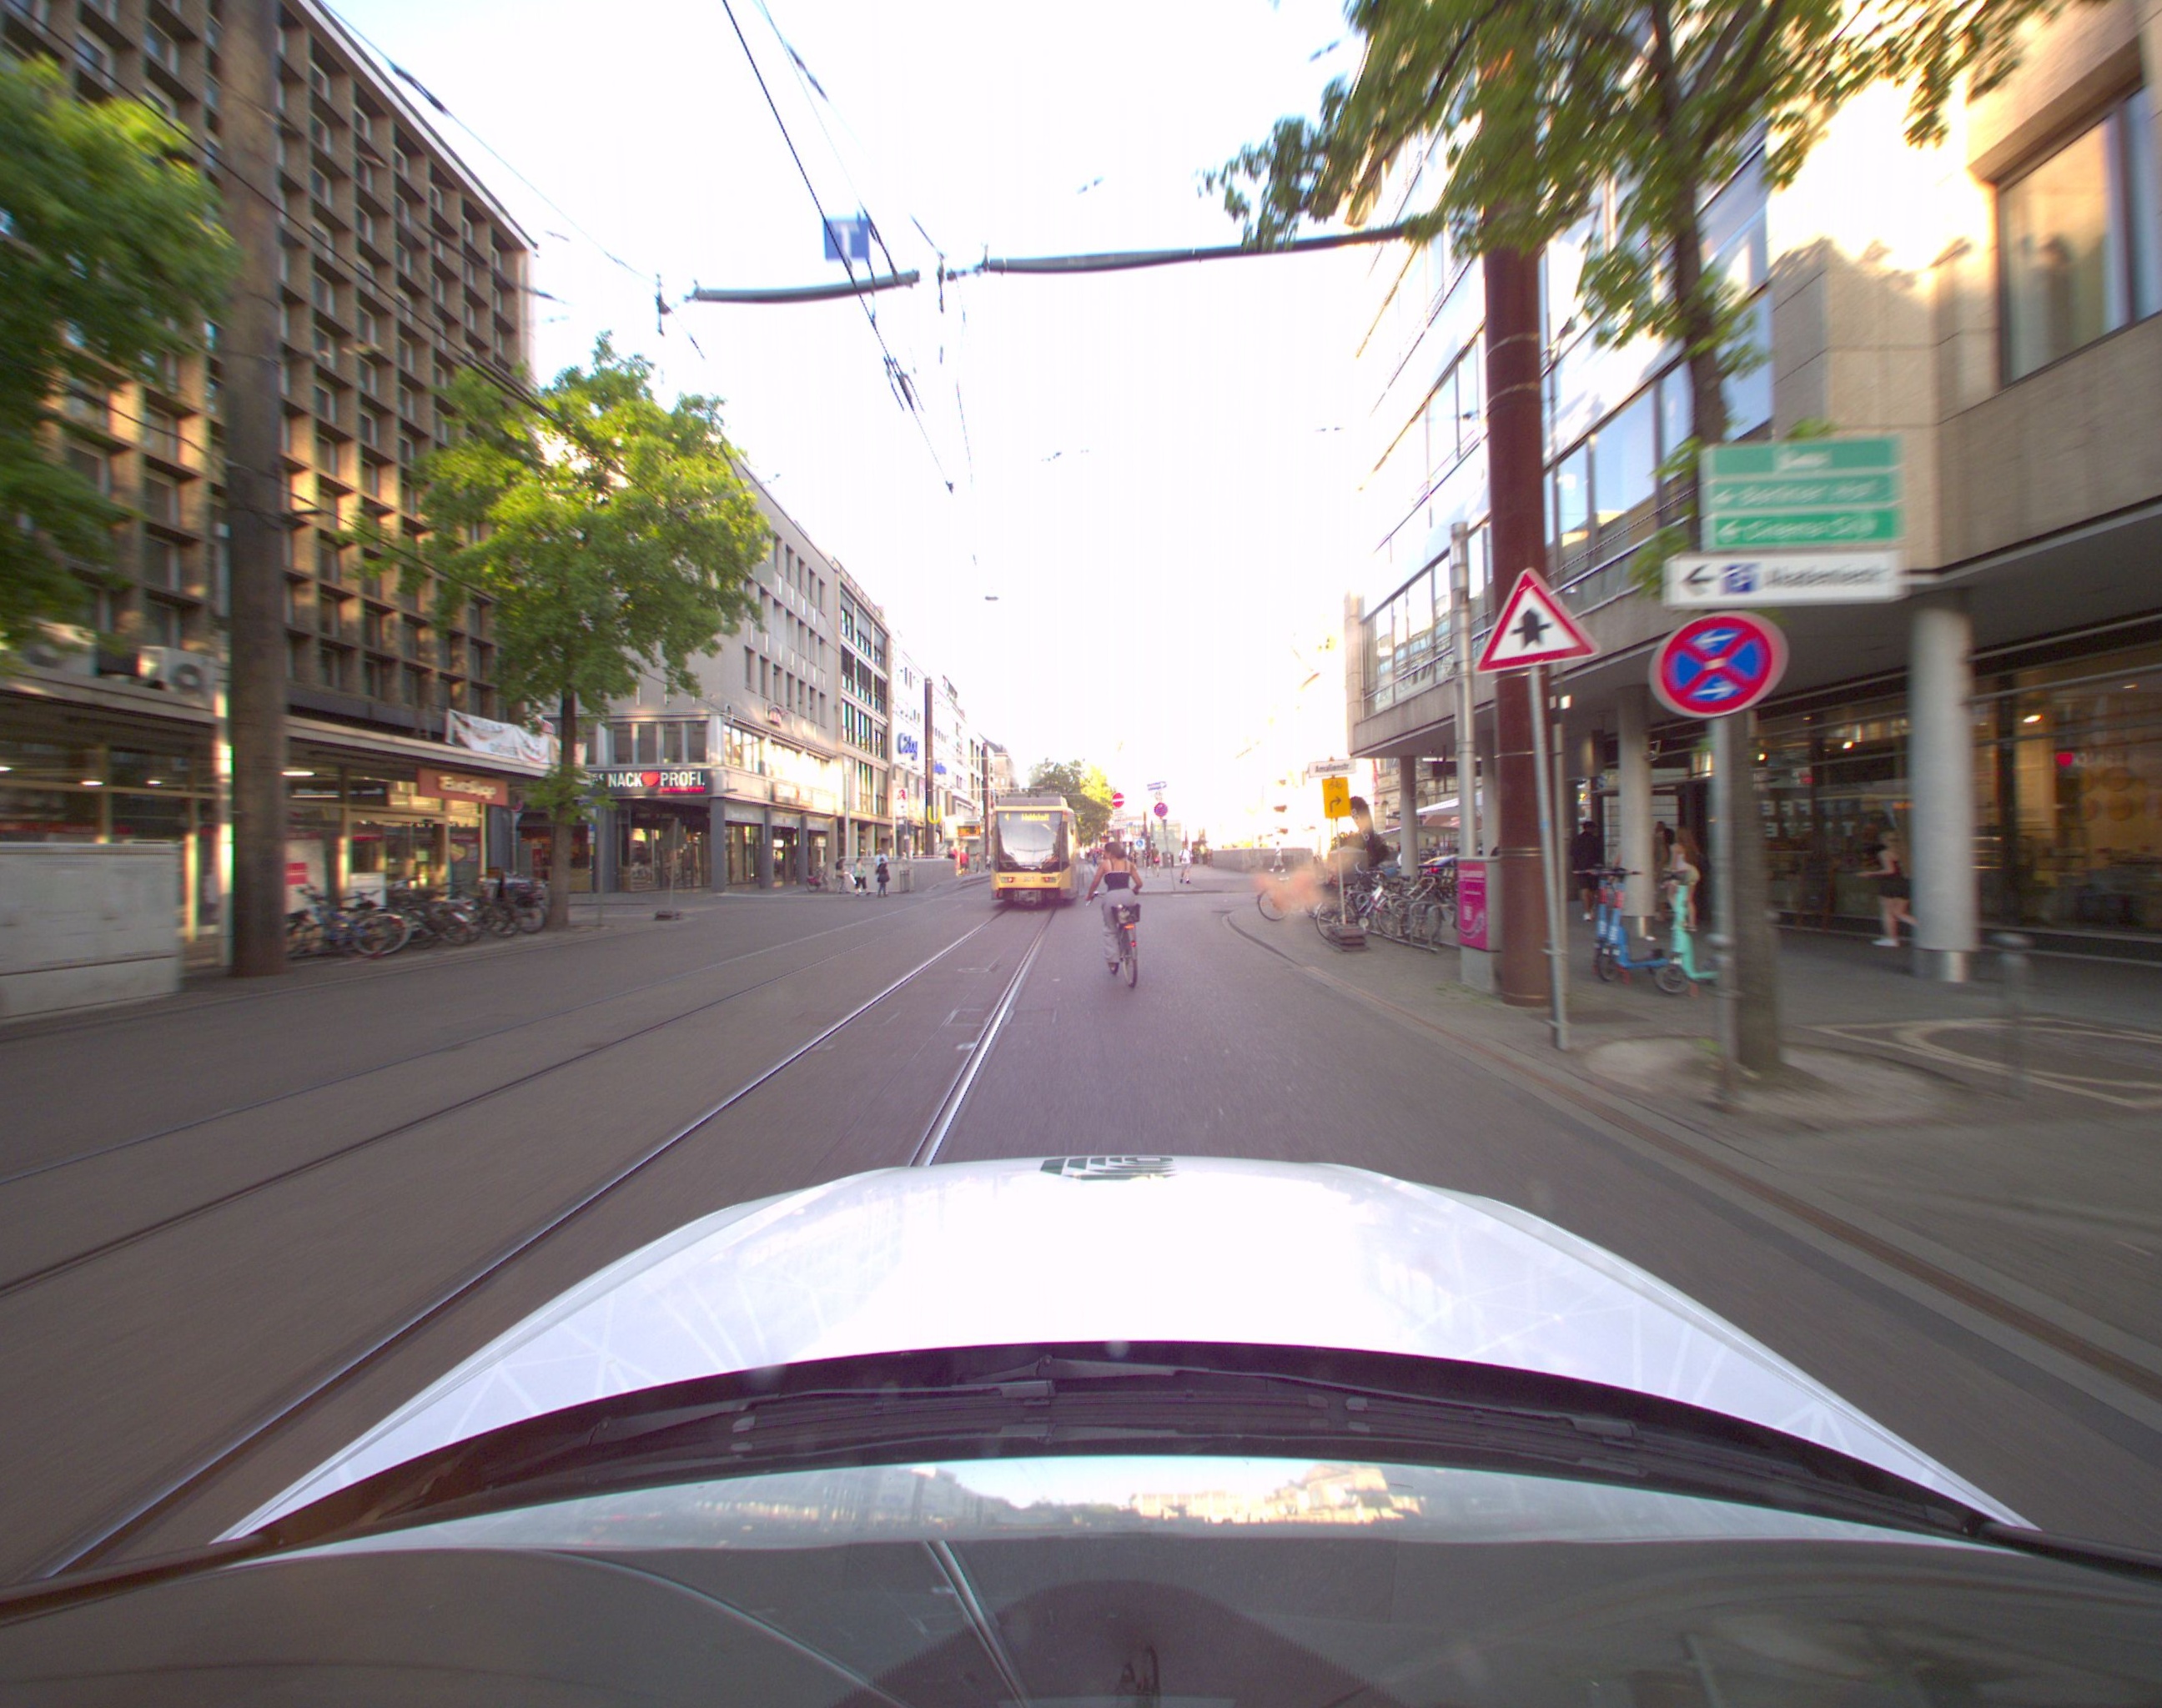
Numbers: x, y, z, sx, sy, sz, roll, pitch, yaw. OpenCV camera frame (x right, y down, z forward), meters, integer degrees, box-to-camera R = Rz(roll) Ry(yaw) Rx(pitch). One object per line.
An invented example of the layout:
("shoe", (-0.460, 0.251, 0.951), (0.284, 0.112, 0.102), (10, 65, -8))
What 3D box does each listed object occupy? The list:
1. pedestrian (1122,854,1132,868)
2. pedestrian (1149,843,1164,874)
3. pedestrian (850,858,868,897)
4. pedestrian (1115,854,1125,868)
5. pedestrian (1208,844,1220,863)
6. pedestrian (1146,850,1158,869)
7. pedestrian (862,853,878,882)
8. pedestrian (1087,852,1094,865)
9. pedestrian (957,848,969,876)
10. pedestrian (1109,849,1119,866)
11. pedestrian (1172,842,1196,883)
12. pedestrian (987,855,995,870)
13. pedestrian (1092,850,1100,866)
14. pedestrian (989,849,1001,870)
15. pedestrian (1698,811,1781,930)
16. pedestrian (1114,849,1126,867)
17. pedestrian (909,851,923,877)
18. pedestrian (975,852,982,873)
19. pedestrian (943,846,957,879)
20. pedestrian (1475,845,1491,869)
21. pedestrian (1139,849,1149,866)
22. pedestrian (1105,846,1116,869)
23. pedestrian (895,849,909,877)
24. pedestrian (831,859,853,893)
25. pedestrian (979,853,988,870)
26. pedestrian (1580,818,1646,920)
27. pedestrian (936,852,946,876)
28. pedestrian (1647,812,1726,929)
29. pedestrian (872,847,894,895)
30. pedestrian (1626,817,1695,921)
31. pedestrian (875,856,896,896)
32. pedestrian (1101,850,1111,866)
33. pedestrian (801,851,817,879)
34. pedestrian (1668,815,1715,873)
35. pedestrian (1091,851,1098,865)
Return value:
("pedestrian", (4.009, 0.593, 70.468), (0.790, 1.221, 0.768), (-1, 0, -4))
("pedestrian", (4.286, 0.284, 46.150), (0.716, 1.725, 0.709), (-1, -1, 0))
("pedestrian", (-8.766, 0.927, 32.220), (0.603, 1.494, 0.554), (-1, -1, -8))
("pedestrian", (3.413, 0.602, 71.270), (0.790, 1.221, 0.768), (-1, 0, -4))
("pedestrian", (12.612, -0.038, 77.306), (0.848, 1.823, 0.772), (-1, 0, -13))
("pedestrian", (6.552, 0.500, 75.277), (0.773, 1.661, 0.785), (-1, 0, -41))
("pedestrian", (-12.665, 0.831, 48.869), (0.711, 1.725, 0.709), (-1, -1, -2))
("pedestrian", (1.244, 0.533, 106.495), (0.762, 1.661, 0.797), (-1, 0, 9))
("pedestrian", (-7.374, 0.497, 50.874), (0.712, 1.698, 0.784), (-1, -1, -6))
("pedestrian", (3.171, 0.358, 78.549), (0.787, 1.661, 0.772), (-1, 0, 12))
("pedestrian", (4.819, 0.389, 38.125), (1.010, 1.863, 1.042), (0, -1, 0))
("pedestrian", (-8.409, 0.819, 76.149), (0.705, 1.379, 0.720), (-1, -1, -1))
("pedestrian", (1.598, 0.421, 87.153), (0.761, 1.661, 0.797), (-1, 0, 12))
("pedestrian", (-7.279, 0.493, 69.036), (0.712, 1.725, 0.768), (-1, -1, -31))
("pedestrian", (10.295, 0.249, 12.760), (0.660, 1.787, 0.719), (-2, -1, 1))
("pedestrian", (3.576, 0.353, 74.906), (0.759, 1.579, 0.800), (-1, 0, 29))
("pedestrian", (-10.281, 0.605, 50.770), (0.631, 1.588, 0.598), (0, -2, -42))
("pedestrian", (-7.918, 0.645, 62.995), (0.511, 1.617, 0.503), (-1, -1, -9))
("pedestrian", (-7.653, 0.511, 47.686), (0.712, 1.925, 0.708), (-1, -1, -5))
("pedestrian", (22.791, 0.153, 46.197), (0.591, 1.308, 0.581), (-1, 2, -5))
("pedestrian", (6.094, 0.340, 78.704), (0.787, 1.661, 0.772), (-1, 0, 12))
("pedestrian", (2.430, 0.295, 67.470), (0.734, 1.823, 0.816), (-1, 0, -14))
("pedestrian", (-11.055, 0.551, 50.352), (0.632, 1.725, 0.598), (0, -2, -43))
("pedestrian", (-10.258, 0.955, 34.916), (0.548, 1.434, 0.689), (-2, -1, 38))
("pedestrian", (-8.482, 0.651, 70.840), (0.705, 1.379, 0.720), (-1, -1, -1))
("pedestrian", (9.615, 0.265, 14.745), (0.660, 1.787, 0.719), (-2, -1, 1))
("pedestrian", (-9.153, 0.649, 53.355), (0.603, 1.588, 0.626), (-1, -1, -9))
("pedestrian", (9.619, 0.254, 12.956), (0.660, 1.787, 0.719), (-2, -1, 1))
("pedestrian", (-8.216, 0.703, 33.791), (0.772, 1.926, 0.707), (-1, -1, -8))
("pedestrian", (10.364, 0.259, 14.579), (0.660, 1.787, 0.719), (-2, -1, 1))
("pedestrian", (-7.591, 0.843, 31.639), (0.682, 1.542, 0.605), (-1, -1, -3))
("pedestrian", (2.564, 0.390, 83.337), (0.787, 1.661, 0.772), (-1, 0, 12))
("pedestrian", (-17.152, 0.681, 51.354), (0.711, 1.725, 0.709), (-1, -1, -2))
("pedestrian", (20.044, -0.343, 26.738), (0.863, 1.839, 0.873), (-1, 2, -5))
("pedestrian", (1.683, 0.500, 101.017), (0.787, 1.661, 0.772), (-1, 0, 12))
